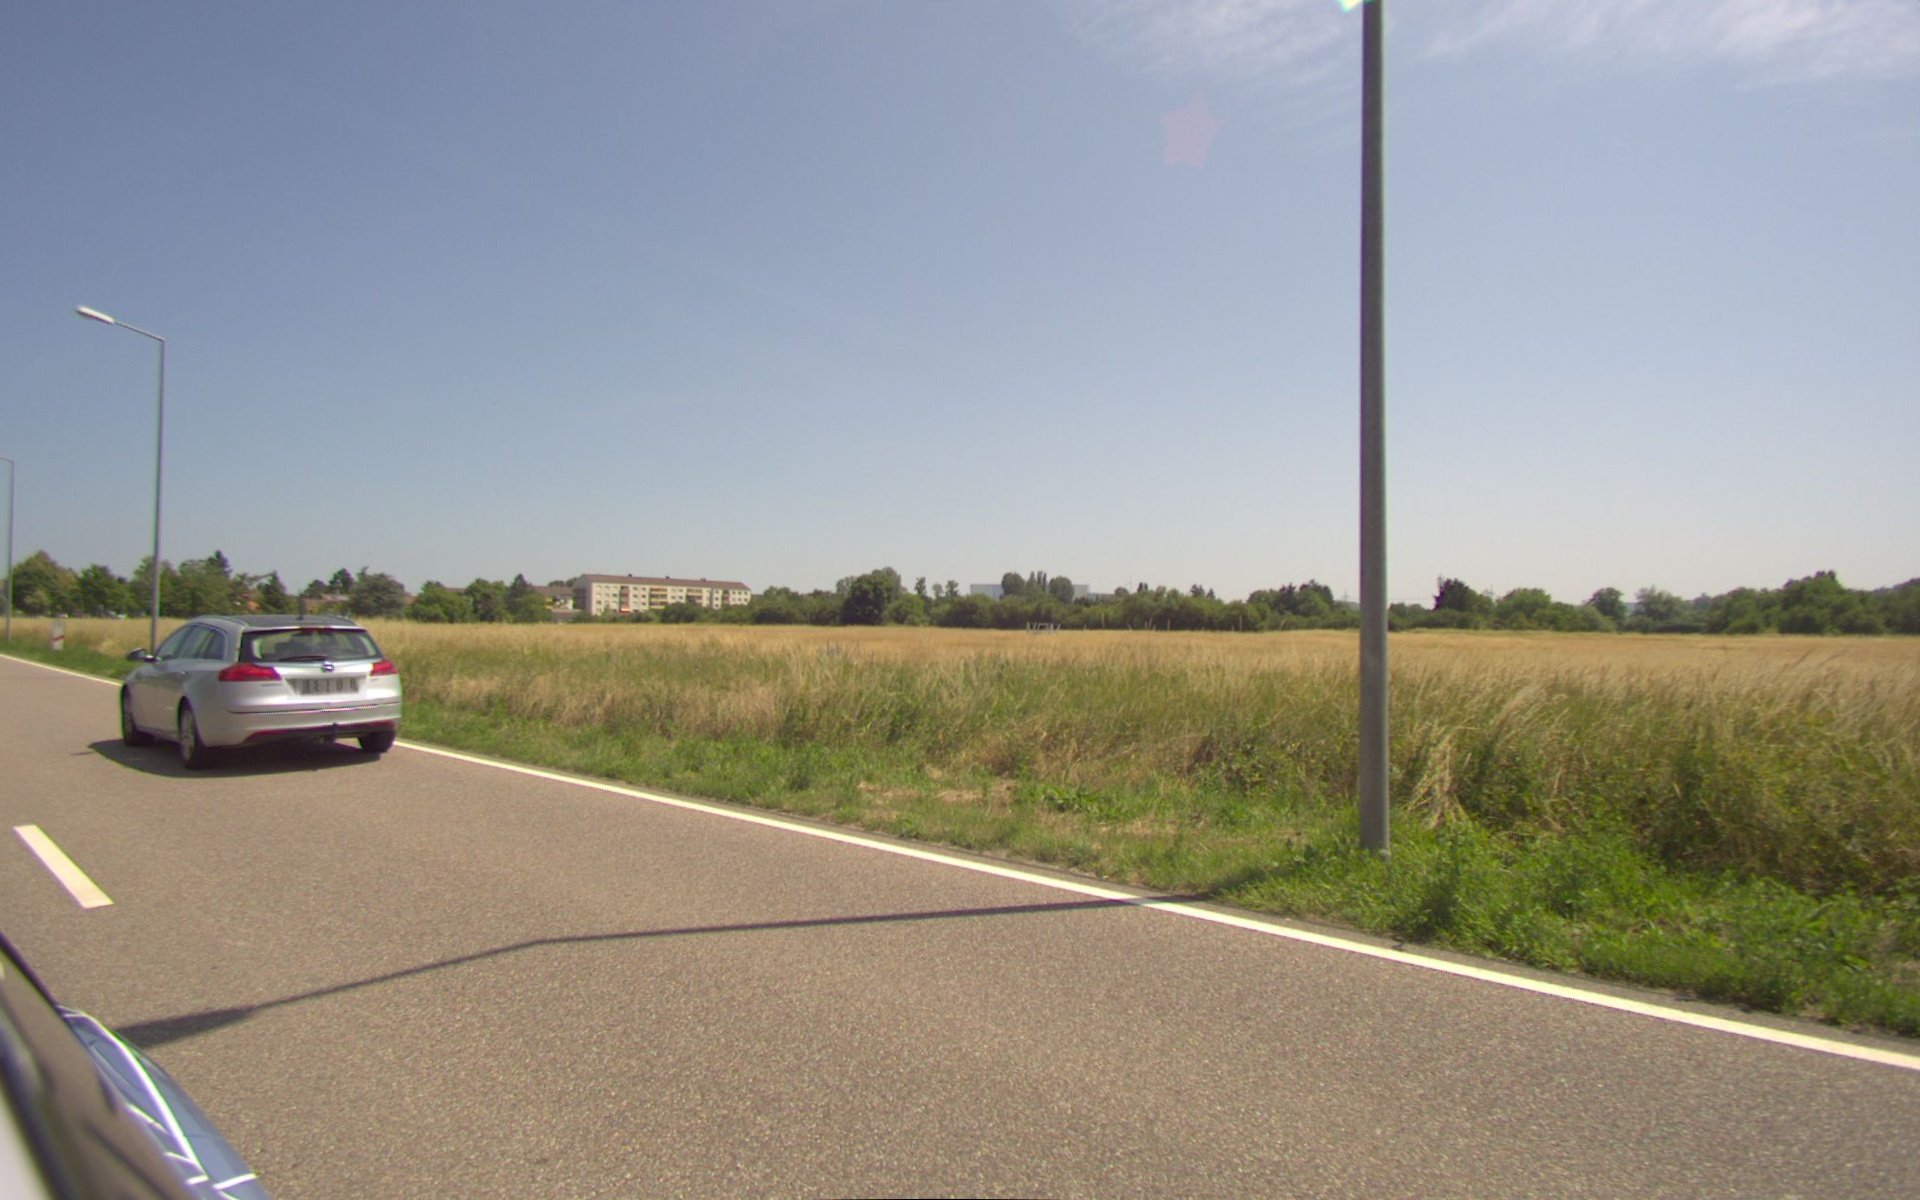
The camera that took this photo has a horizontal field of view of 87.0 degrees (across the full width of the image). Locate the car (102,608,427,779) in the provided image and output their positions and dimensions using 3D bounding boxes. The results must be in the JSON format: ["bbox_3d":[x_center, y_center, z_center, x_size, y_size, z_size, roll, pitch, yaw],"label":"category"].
[{"bbox_3d":[-7.687,0.865,10.989,4.676,1.478,1.815,-1,-2,41],"label":"car"}]
